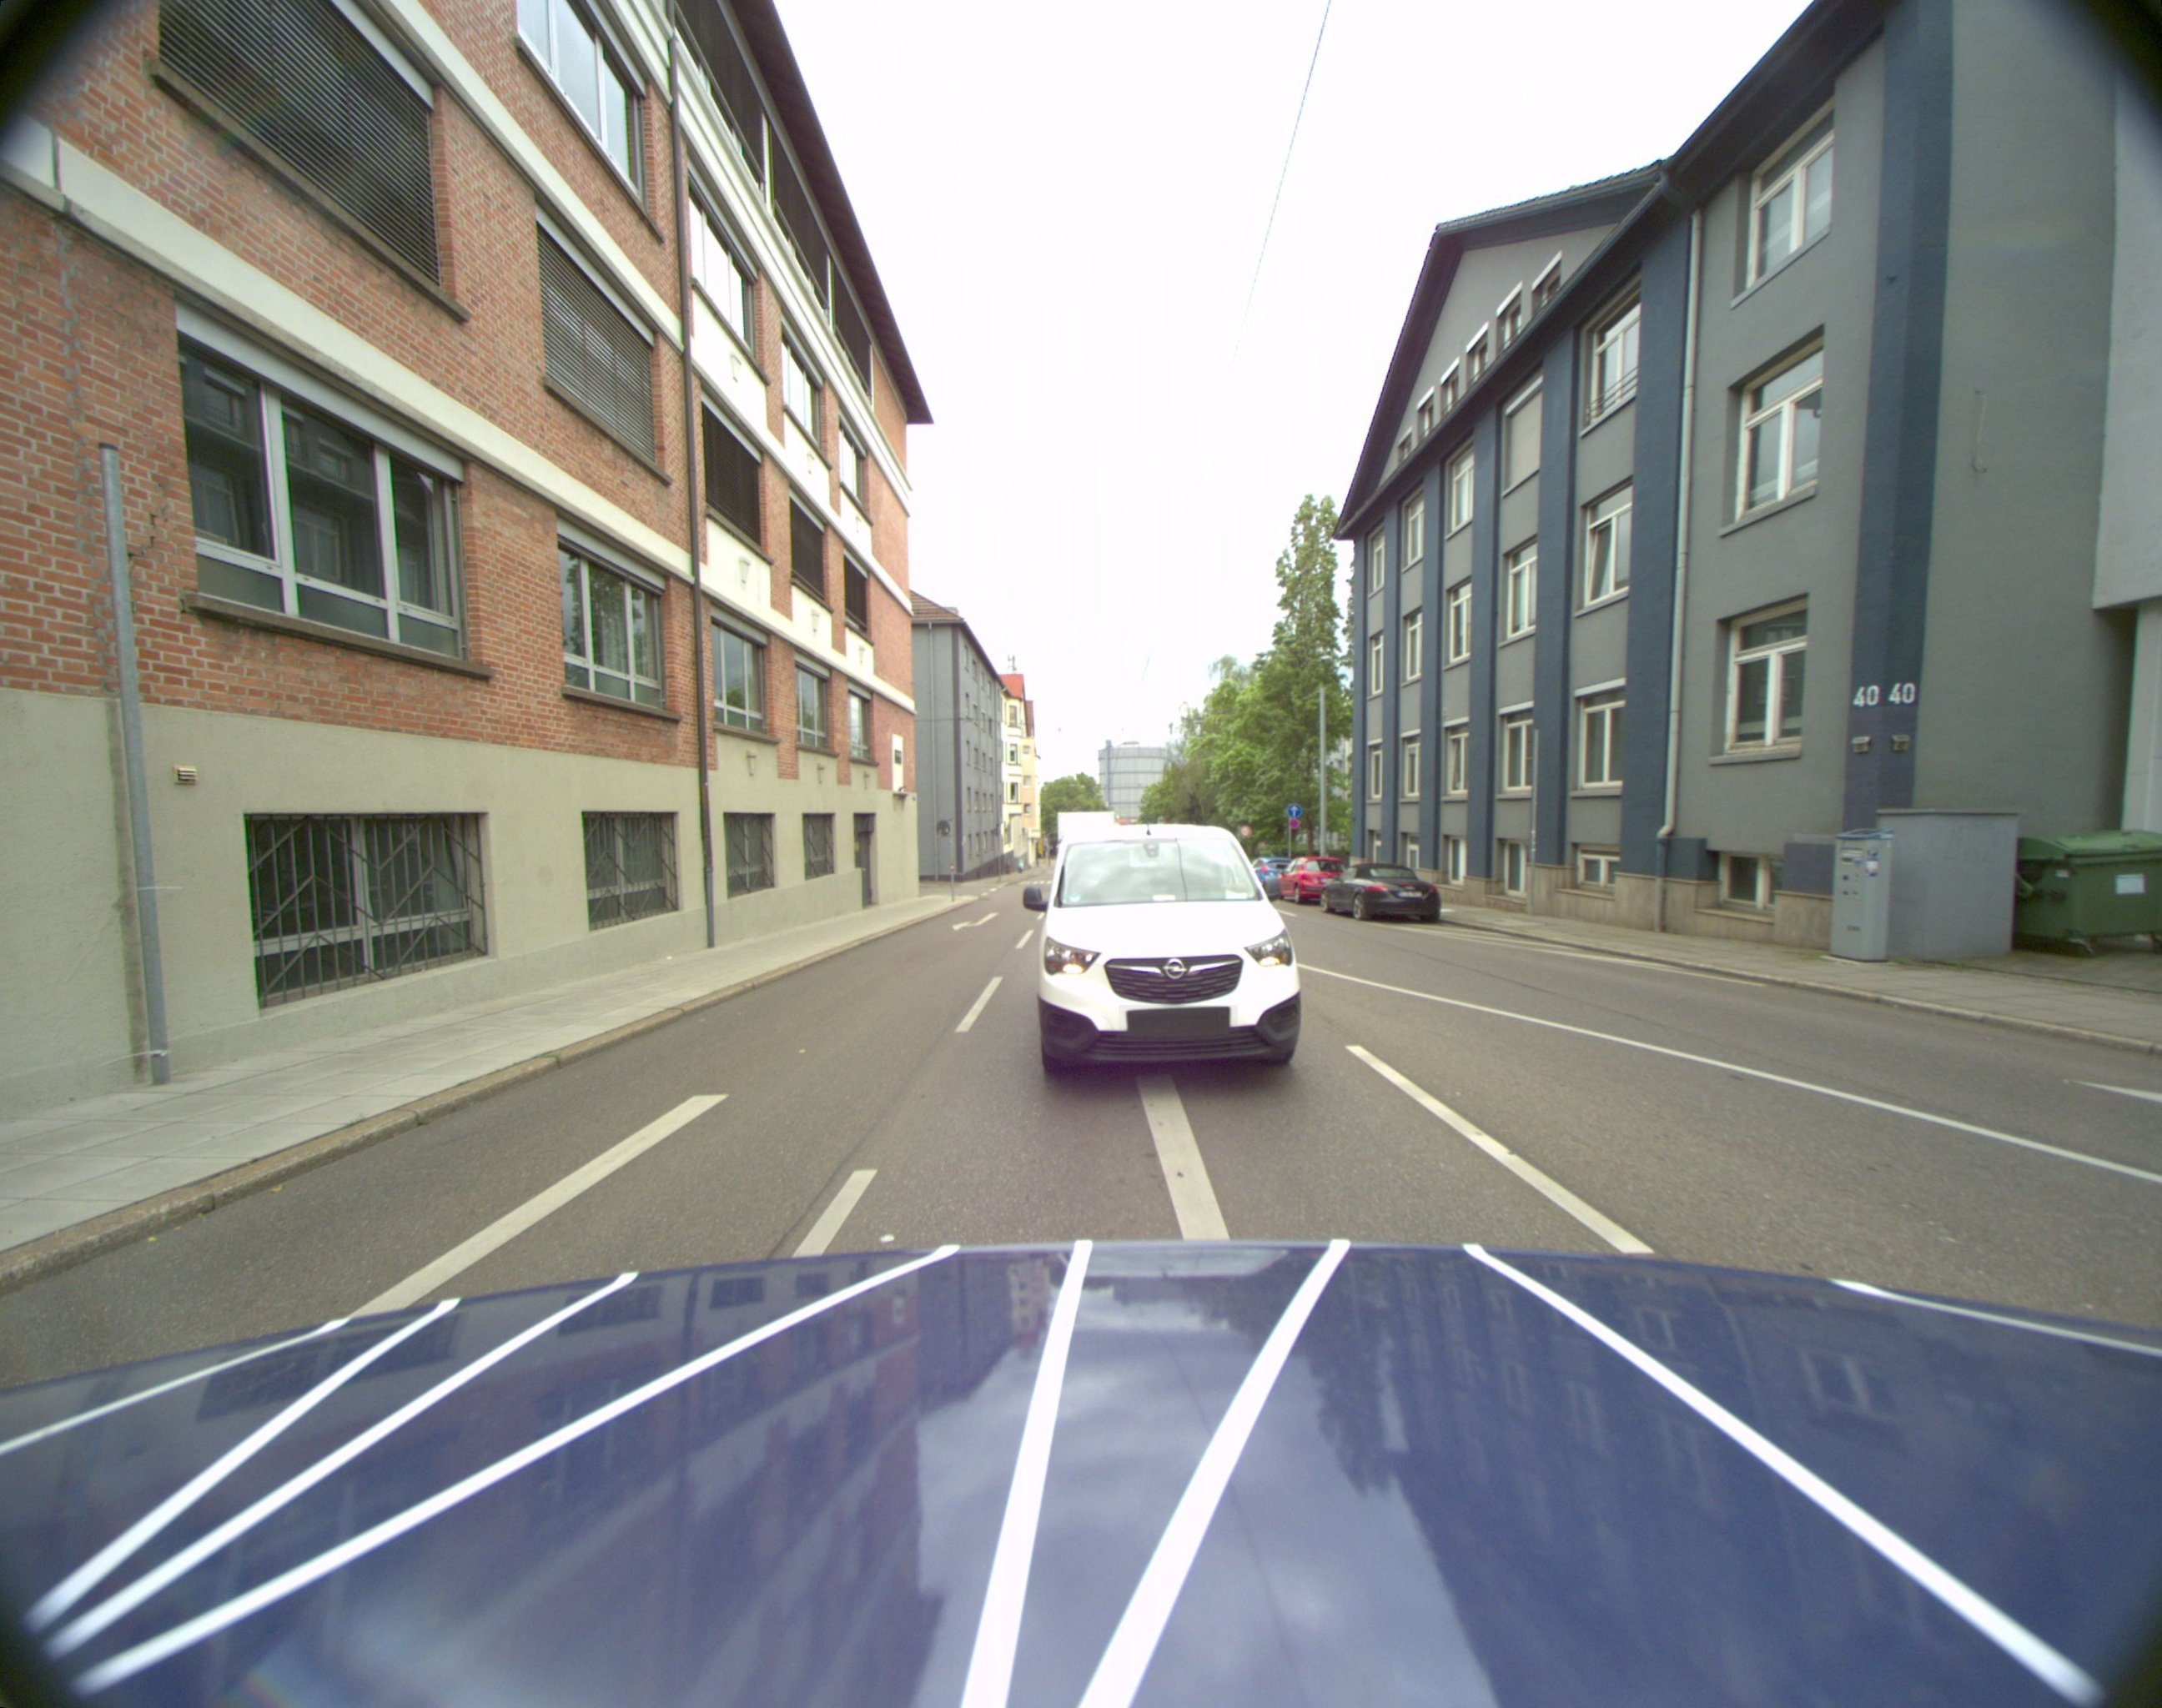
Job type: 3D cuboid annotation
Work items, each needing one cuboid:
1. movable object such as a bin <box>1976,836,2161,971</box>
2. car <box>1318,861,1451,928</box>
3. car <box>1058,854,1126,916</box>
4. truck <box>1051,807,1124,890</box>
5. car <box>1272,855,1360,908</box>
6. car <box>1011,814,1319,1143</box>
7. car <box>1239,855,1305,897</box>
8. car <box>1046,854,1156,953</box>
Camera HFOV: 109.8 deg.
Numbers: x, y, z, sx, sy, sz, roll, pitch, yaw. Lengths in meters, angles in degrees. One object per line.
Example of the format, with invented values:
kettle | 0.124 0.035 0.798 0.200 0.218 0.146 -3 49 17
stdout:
movable object such as a bin | 12.081 0.562 9.205 1.229 1.498 1.040 -2 1 1
car | 7.235 0.912 18.523 1.801 1.384 3.729 0 1 1
car | 0.311 0.816 21.884 1.739 1.519 3.999 -2 1 1
truck | 0.348 -0.281 36.657 2.969 3.409 8.879 -2 1 1
car | 7.425 0.822 24.343 1.644 1.441 3.729 -2 1 1
car | 0.521 0.711 6.454 1.739 1.875 3.999 -2 1 1
car | 7.436 0.813 29.913 1.644 1.441 3.729 -2 1 1
car | 0.350 0.806 14.392 1.739 1.519 3.999 -2 1 1
